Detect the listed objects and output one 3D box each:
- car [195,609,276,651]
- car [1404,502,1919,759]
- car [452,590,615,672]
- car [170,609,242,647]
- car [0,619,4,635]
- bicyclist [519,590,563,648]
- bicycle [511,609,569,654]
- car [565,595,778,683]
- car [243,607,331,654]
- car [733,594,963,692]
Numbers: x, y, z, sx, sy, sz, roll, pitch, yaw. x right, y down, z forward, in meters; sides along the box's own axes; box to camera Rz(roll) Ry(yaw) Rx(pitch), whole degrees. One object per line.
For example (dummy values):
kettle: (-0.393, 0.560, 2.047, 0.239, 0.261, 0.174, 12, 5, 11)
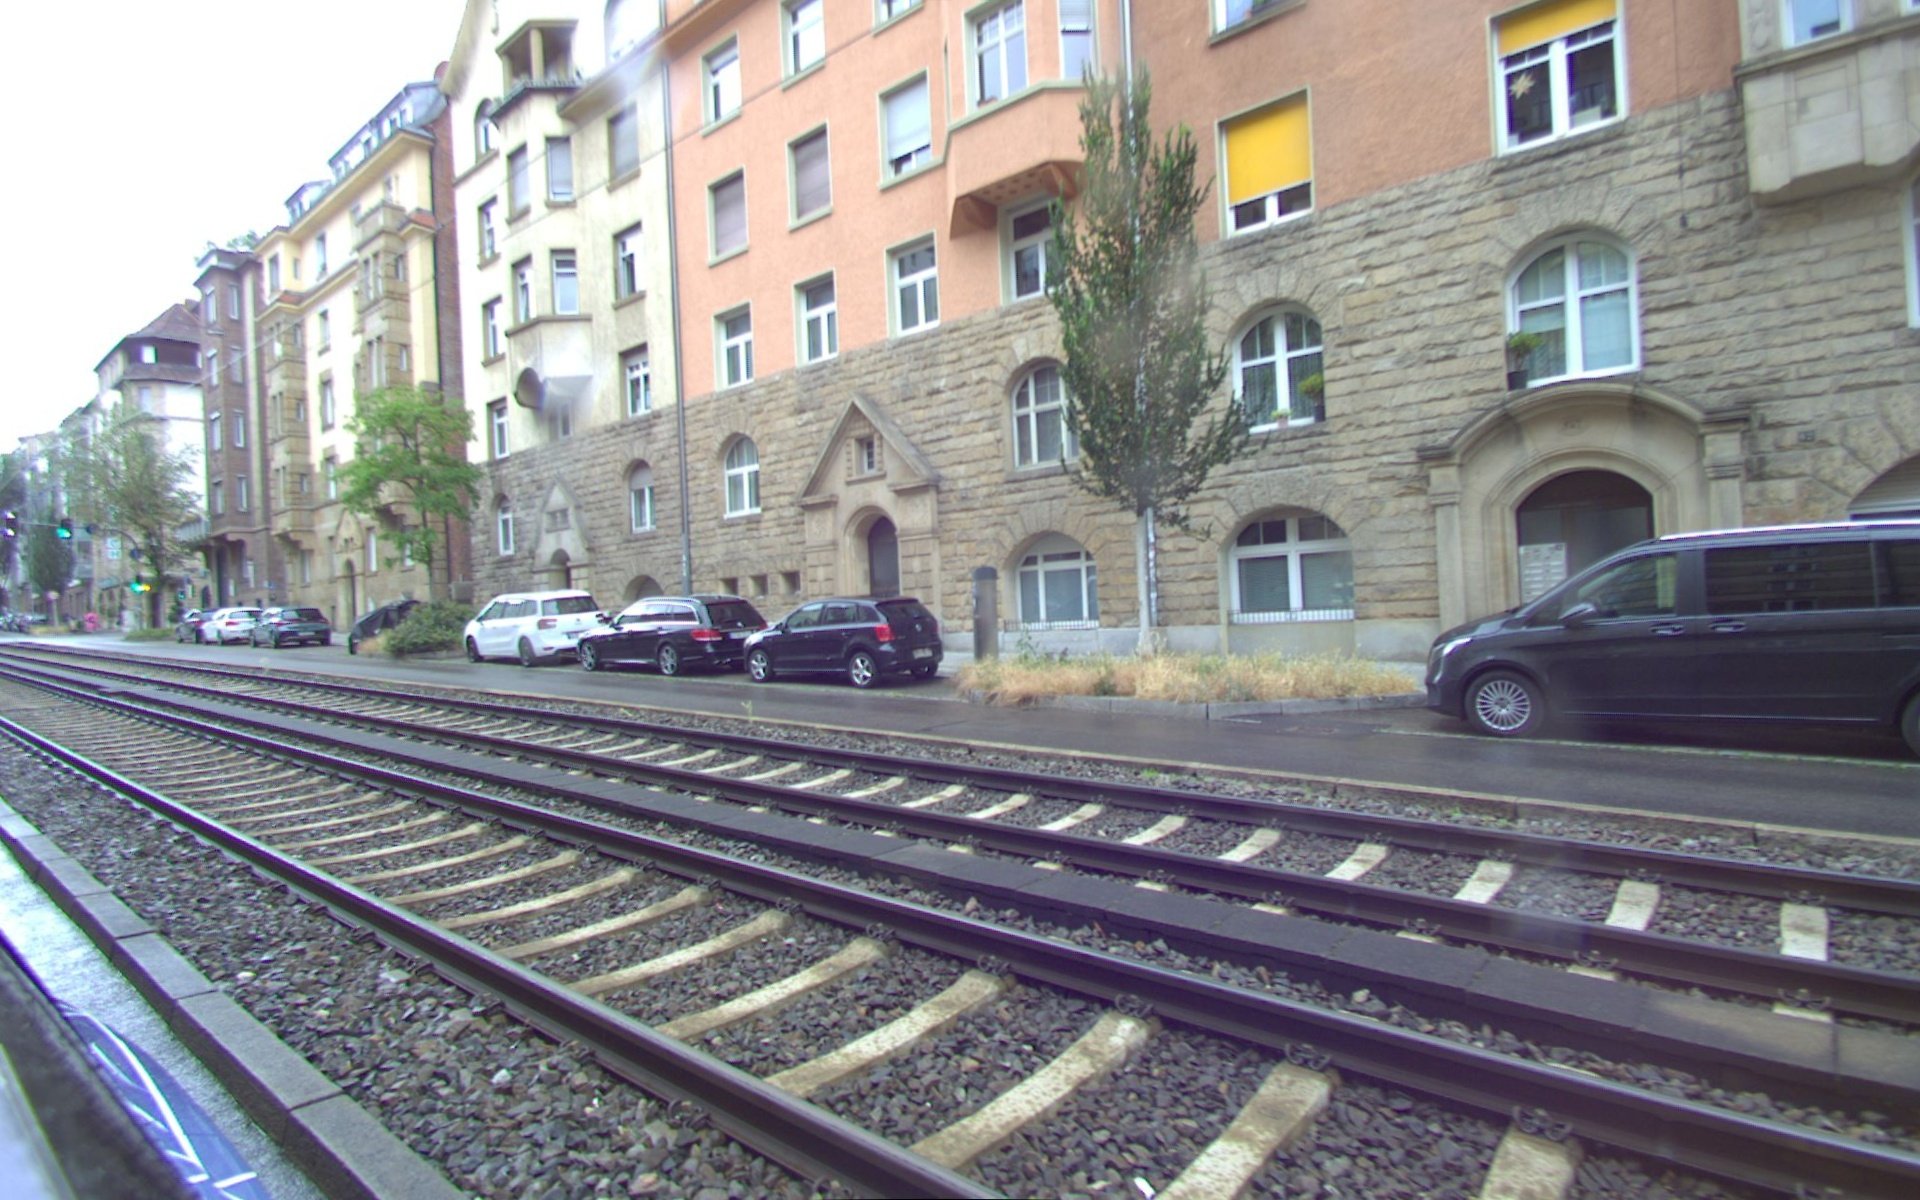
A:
car: (-28.728, 1.165, 40.091, 4.043, 1.462, 1.737, -1, 3, 42)
car: (6.870, 0.238, 9.244, 4.829, 1.945, 1.886, -1, 0, 40)
car: (-10.103, 0.686, 23.861, 4.257, 1.684, 1.738, -1, 3, 40)
car: (-32.272, 1.159, 43.294, 3.712, 1.438, 1.737, -1, 3, 42)
car: (-82.078, 2.297, 85.273, 4.255, 1.356, 1.771, -1, 0, 41)
bicyclist: (-11.941, 0.540, 28.846, 0.774, 1.613, 0.883, -1, 0, 41)
bicycle: (-12.003, 0.872, 28.882, 2.052, 1.231, 0.685, -1, 0, 41)
car: (-5.821, 0.710, 20.155, 4.593, 1.502, 1.738, -1, 2, 39)
car: (-24.092, 1.044, 36.193, 3.712, 1.493, 1.695, -1, 3, 42)
car: (-1.945, 0.667, 17.147, 3.690, 1.414, 1.739, -1, 2, 38)
